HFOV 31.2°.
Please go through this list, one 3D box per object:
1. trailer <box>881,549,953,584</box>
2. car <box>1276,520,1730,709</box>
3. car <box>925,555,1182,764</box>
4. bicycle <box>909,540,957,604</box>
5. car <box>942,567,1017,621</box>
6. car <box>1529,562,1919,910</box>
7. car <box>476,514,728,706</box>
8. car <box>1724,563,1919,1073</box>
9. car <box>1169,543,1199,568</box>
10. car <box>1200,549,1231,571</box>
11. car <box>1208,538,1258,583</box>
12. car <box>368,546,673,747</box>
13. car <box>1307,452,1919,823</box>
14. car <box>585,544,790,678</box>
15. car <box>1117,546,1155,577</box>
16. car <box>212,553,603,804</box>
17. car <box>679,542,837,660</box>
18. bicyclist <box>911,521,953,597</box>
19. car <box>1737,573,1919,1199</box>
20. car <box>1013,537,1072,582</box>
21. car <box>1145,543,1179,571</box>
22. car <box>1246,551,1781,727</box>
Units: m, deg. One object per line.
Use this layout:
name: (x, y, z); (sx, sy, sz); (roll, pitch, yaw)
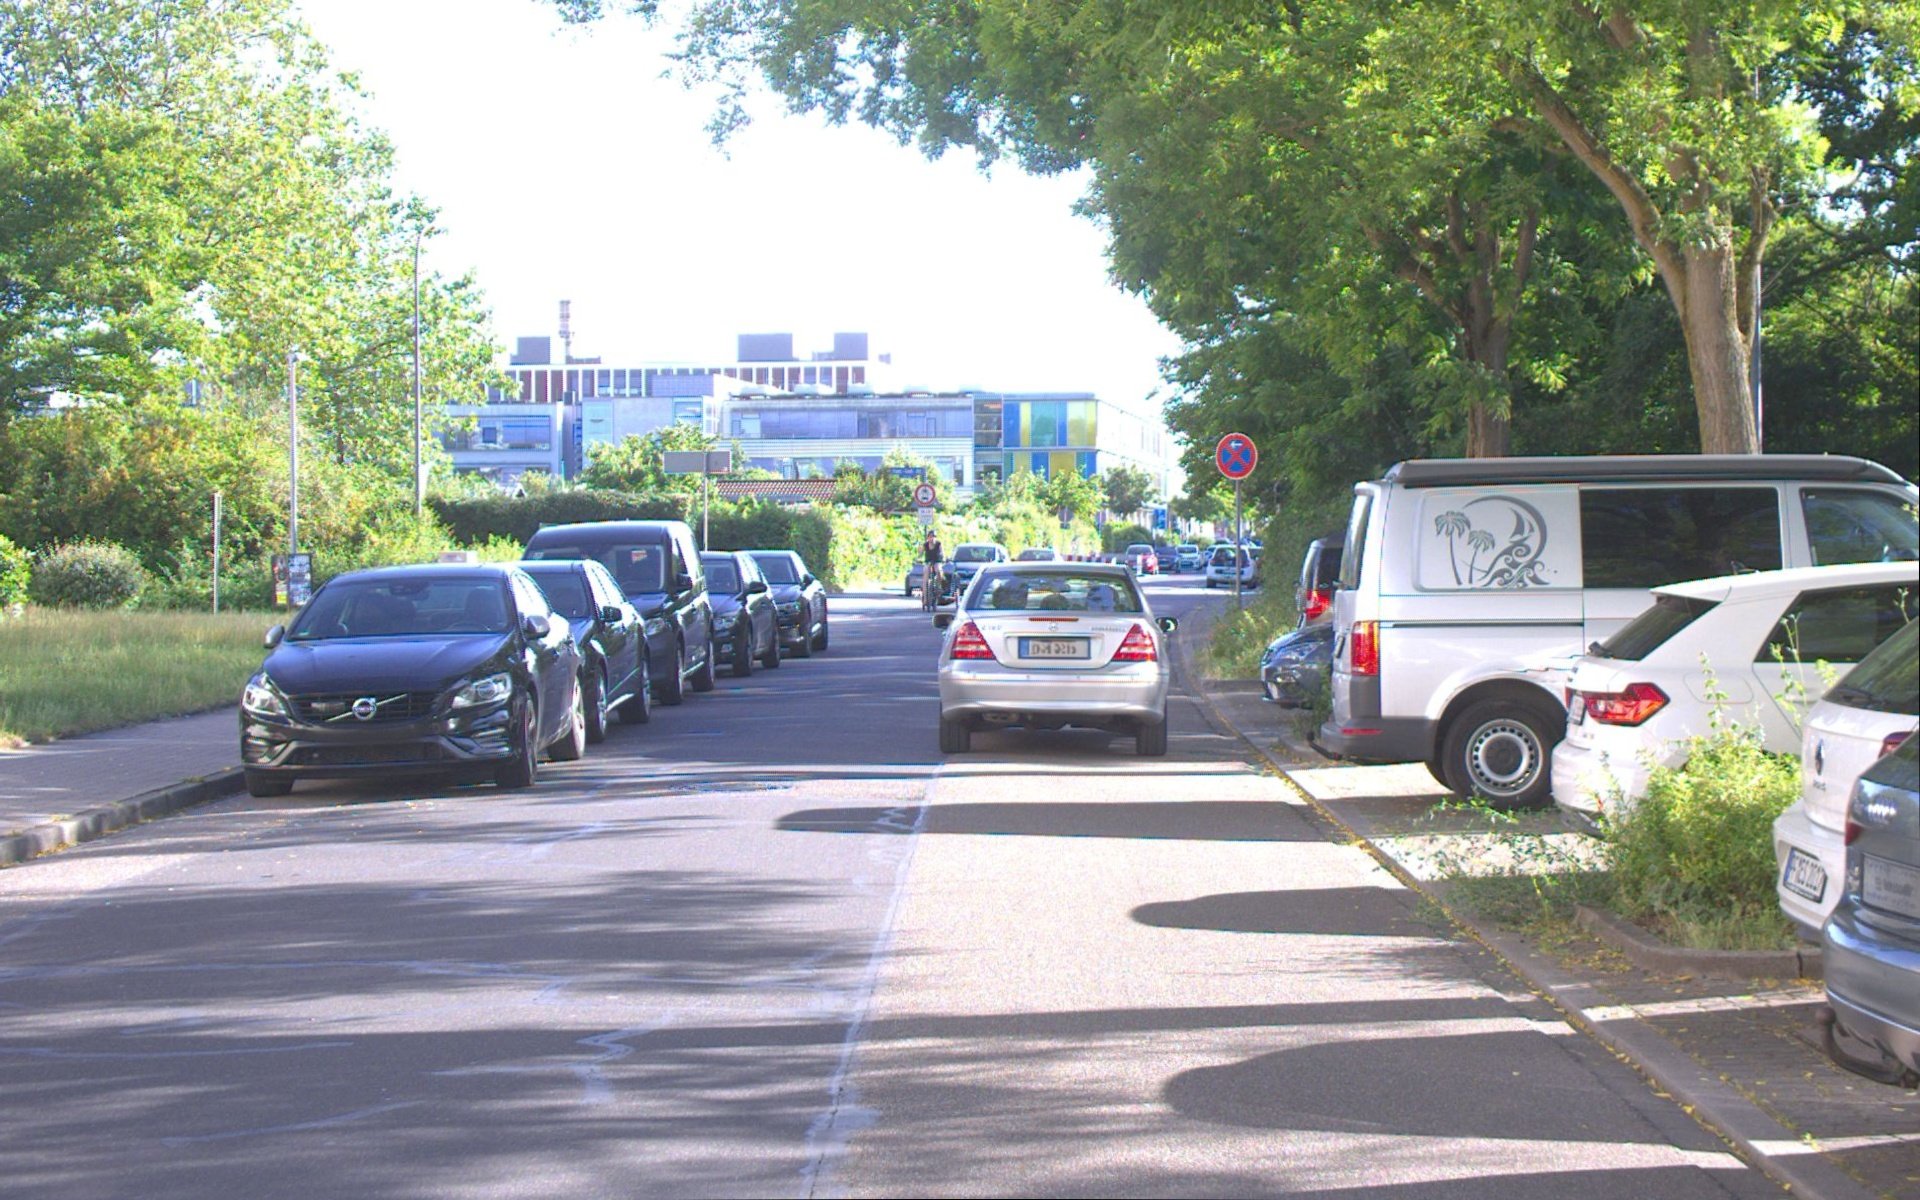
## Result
trailer: (-1.188, -0.948, 96.546); (1.545, 0.950, 2.646); (1, 1, 10)
car: (5.158, 0.123, 33.064); (4.149, 1.689, 1.775); (-1, 1, 4)
car: (0.643, 0.397, 26.379); (1.737, 1.448, 4.000); (1, 1, -2)
bicycle: (-0.581, -0.628, 75.657); (0.851, 1.366, 3.220); (0, 1, 3)
car: (0.618, -0.206, 106.495); (1.644, 1.594, 4.310); (1, 1, 9)
car: (4.584, 0.554, 15.305); (3.908, 1.430, 1.636); (-1, 1, 5)
car: (-3.573, 0.055, 35.147); (1.840, 1.774, 4.888); (-2, 1, 2)
car: (4.503, 0.557, 10.622); (3.908, 1.430, 1.636); (-2, 1, 3)
car: (13.394, -2.677, 205.544); (1.560, 1.489, 3.757); (-1, 1, 7)
car: (17.461, -2.739, 234.792); (1.855, 1.423, 4.133); (1, 1, 7)
car: (9.807, -1.421, 123.448); (1.556, 1.533, 3.555); (2, 1, 8)
car: (-3.629, 0.330, 29.195); (1.840, 1.476, 4.575); (-3, 1, 1)
car: (4.362, 0.180, 20.365); (4.451, 2.009, 2.021); (-1, 1, 3)
car: (-3.251, 0.096, 41.679); (1.840, 1.449, 4.018); (-2, 1, 4)
car: (8.746, -1.906, 170.640); (1.560, 1.489, 3.569); (-1, 1, 7)
car: (-3.625, 0.445, 23.416); (1.840, 1.476, 4.801); (-1, 1, 0)
car: (-2.758, -0.023, 47.904); (1.727, 1.458, 4.682); (-1, 2, 2)
bicyclist: (-0.604, -0.900, 75.313); (0.845, 1.652, 1.064); (0, 1, 4)
car: (4.252, 0.654, 7.977); (4.479, 1.466, 1.745); (-1, 1, 0)
car: (2.986, -1.461, 123.844); (1.644, 1.551, 4.416); (-1, 1, 7)
car: (11.117, -2.372, 188.659); (1.560, 1.489, 3.569); (2, 1, 7)
car: (4.820, 0.328, 30.387); (4.451, 1.409, 1.775); (-1, 1, 2)
